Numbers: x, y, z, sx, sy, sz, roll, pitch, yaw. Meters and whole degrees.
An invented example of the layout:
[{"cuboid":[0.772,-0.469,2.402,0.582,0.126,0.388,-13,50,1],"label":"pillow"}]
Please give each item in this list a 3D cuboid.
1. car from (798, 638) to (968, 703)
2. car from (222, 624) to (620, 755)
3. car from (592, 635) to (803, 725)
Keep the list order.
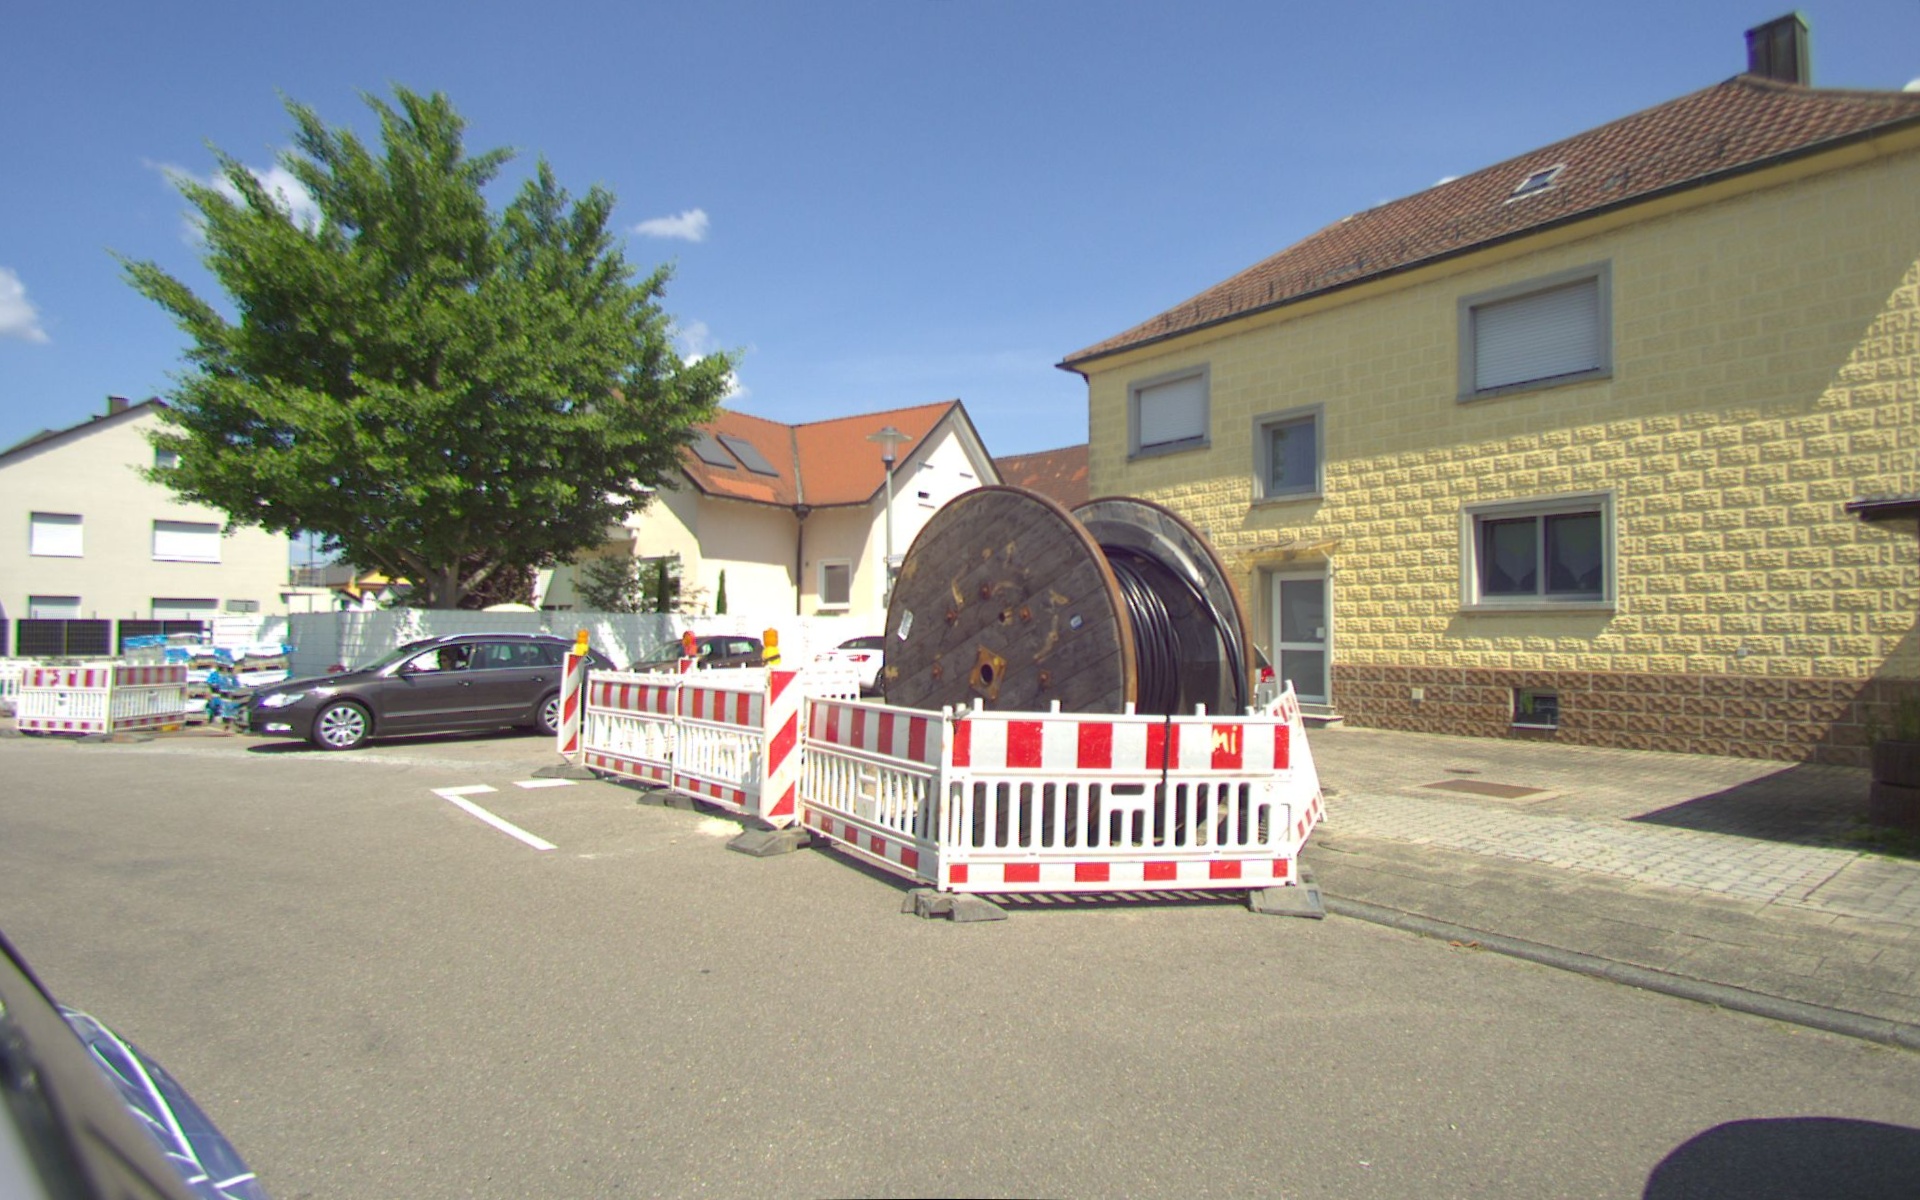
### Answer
[{"cuboid":[-1.821,1.705,25.587,1.896,1.439,4.685,-2,-2,32],"label":"car"},{"cuboid":[-7.417,1.226,14.254,4.636,1.547,1.789,4,-6,-41],"label":"car"},{"cuboid":[-5.143,1.546,20.334,1.712,1.544,3.991,-6,-4,32],"label":"car"}]
